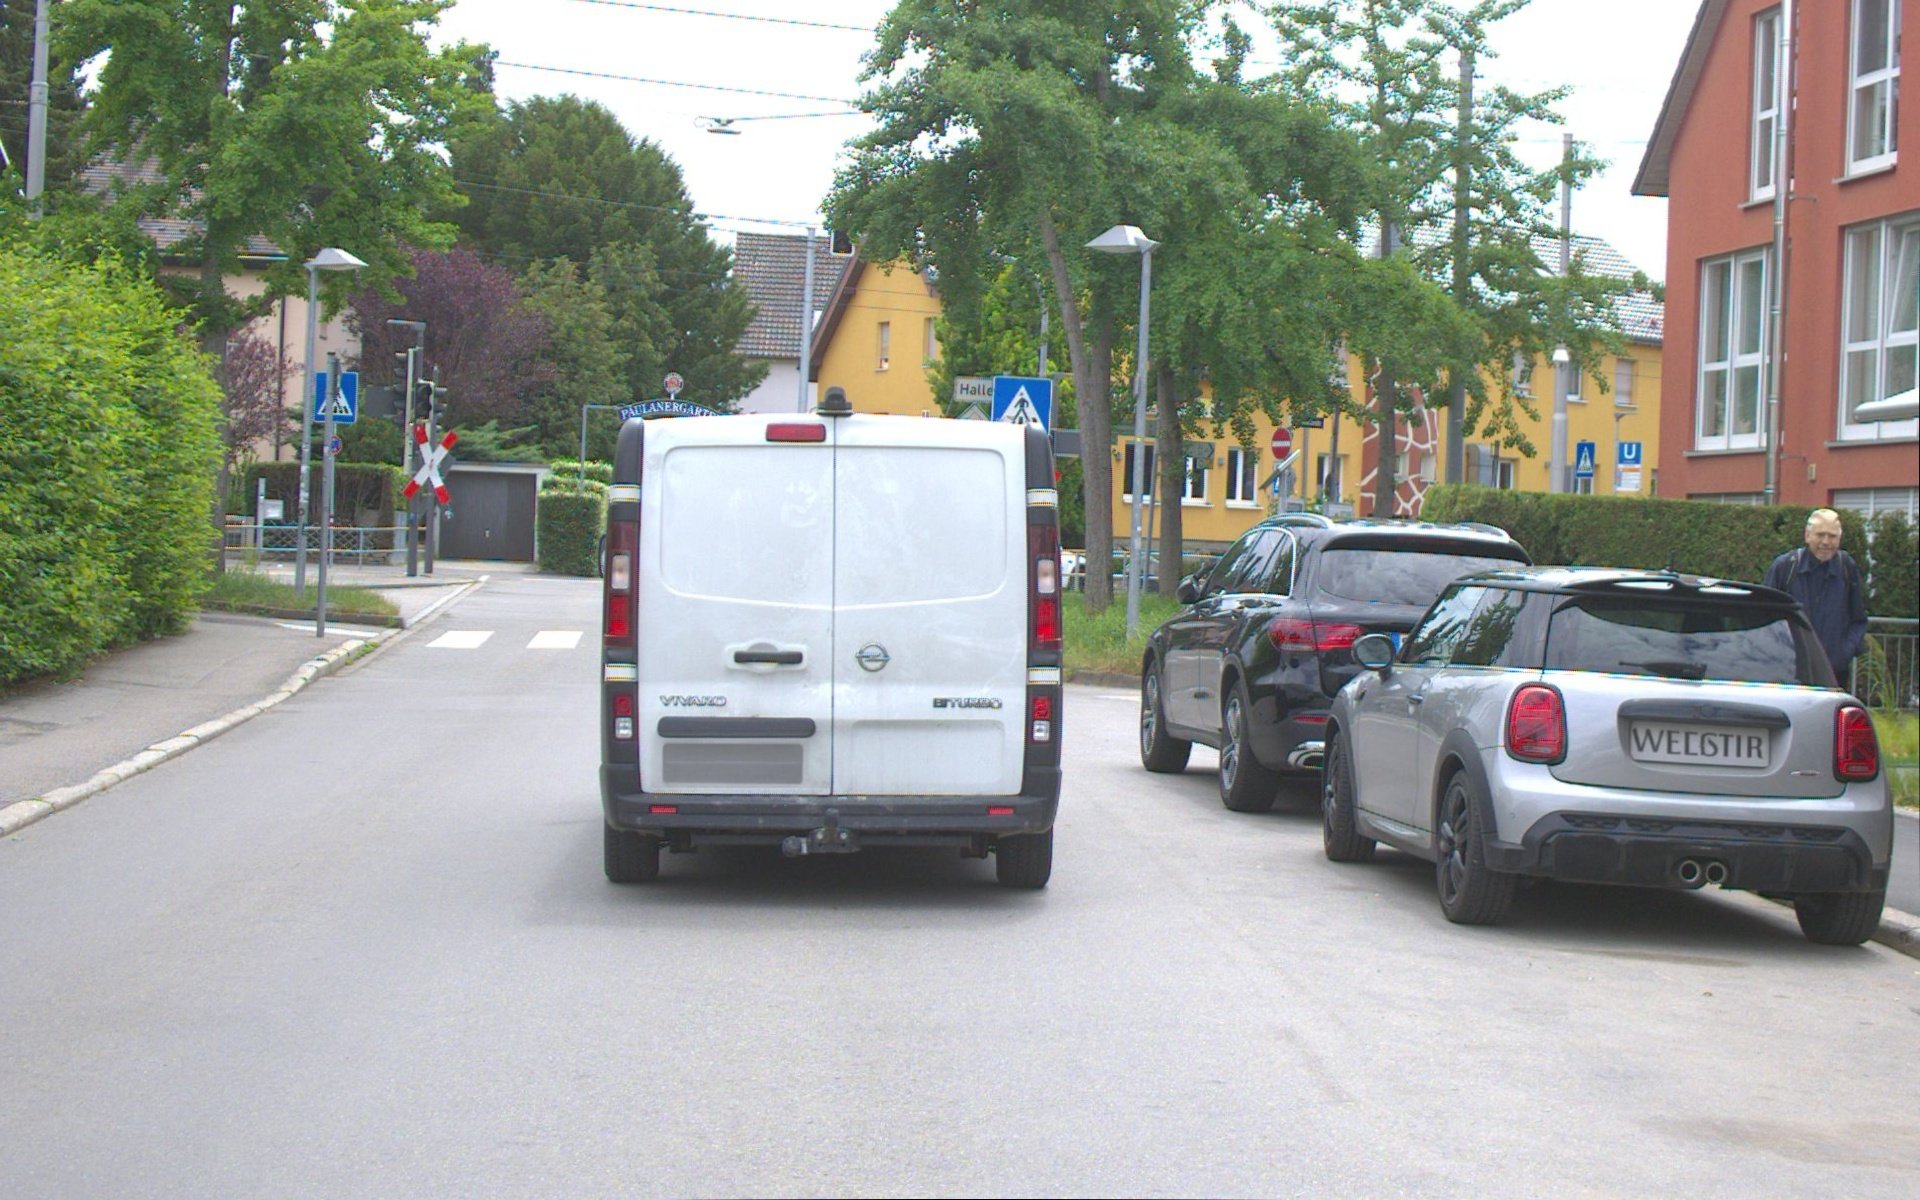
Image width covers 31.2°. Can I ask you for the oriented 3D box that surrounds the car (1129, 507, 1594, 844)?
[{"bbox_3d":[2.166,0.343,19.744,1.702,1.609,4.259,4,1,-5],"label":"car"}]

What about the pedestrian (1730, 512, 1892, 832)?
[{"bbox_3d":[4.417,0.369,17.879,0.590,1.601,0.529,4,0,-1],"label":"pedestrian"}]

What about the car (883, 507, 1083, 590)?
[{"bbox_3d":[0.514,-1.134,76.154,3.919,1.531,1.920,4,0,-33],"label":"car"}]

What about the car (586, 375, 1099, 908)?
[{"bbox_3d":[-0.602,0.103,15.396,1.915,1.995,4.439,1,1,-4],"label":"car"}]

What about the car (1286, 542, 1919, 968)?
[{"bbox_3d":[2.651,0.565,14.774,1.741,1.489,3.656,4,0,-5],"label":"car"}]
